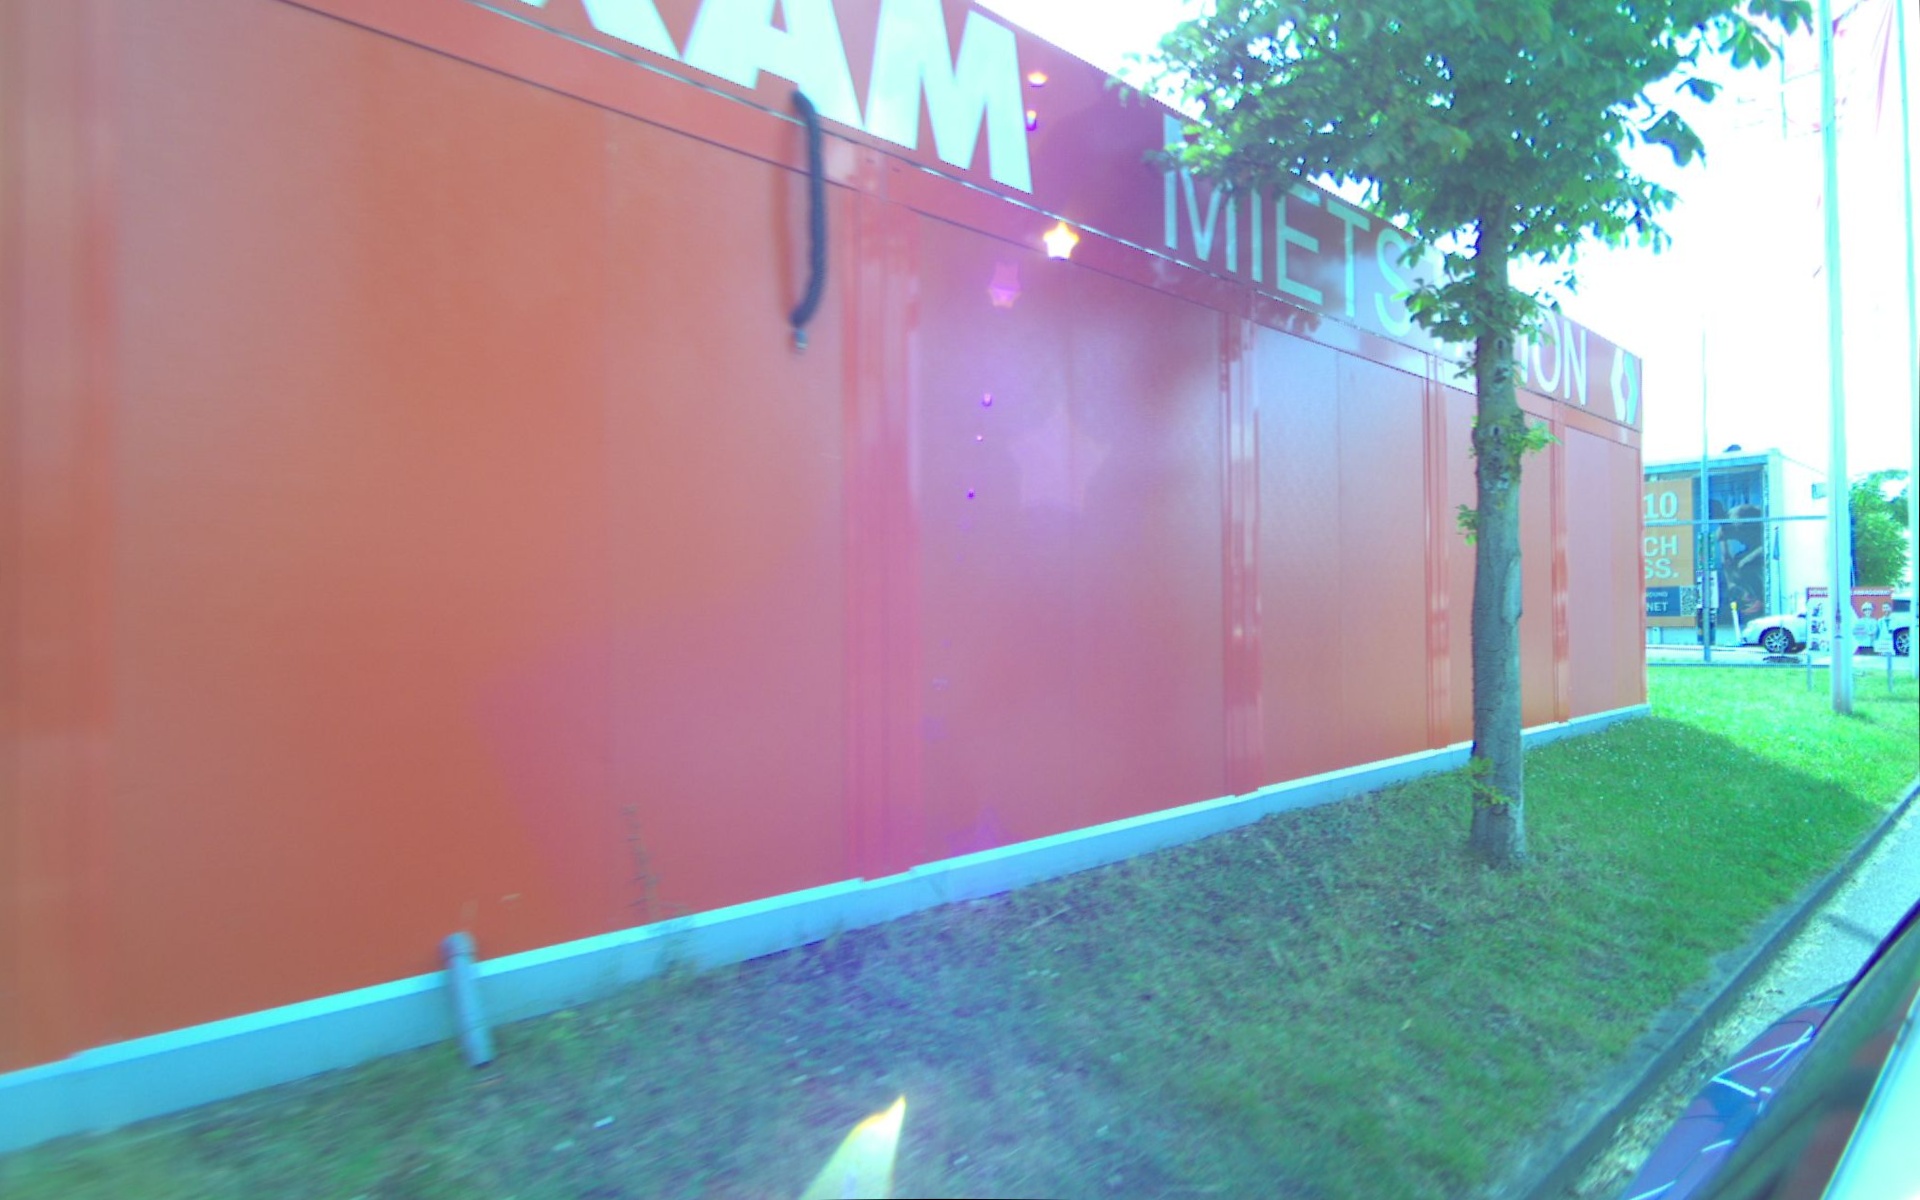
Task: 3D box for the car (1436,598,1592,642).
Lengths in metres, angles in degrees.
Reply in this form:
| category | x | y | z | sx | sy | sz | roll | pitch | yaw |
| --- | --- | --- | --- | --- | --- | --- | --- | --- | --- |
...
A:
| category | x | y | z | sx | sy | sz | roll | pitch | yaw |
| --- | --- | --- | --- | --- | --- | --- | --- | --- | --- |
| car | 19.809 | 0.705 | 36.348 | 1.738 | 1.499 | 4.614 | 1 | -1 | -37 |

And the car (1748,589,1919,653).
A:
| category | x | y | z | sx | sy | sz | roll | pitch | yaw |
| --- | --- | --- | --- | --- | --- | --- | --- | --- | --- |
| car | 25.519 | 0.564 | 28.682 | 1.837 | 1.721 | 4.828 | 1 | -1 | -43 |
